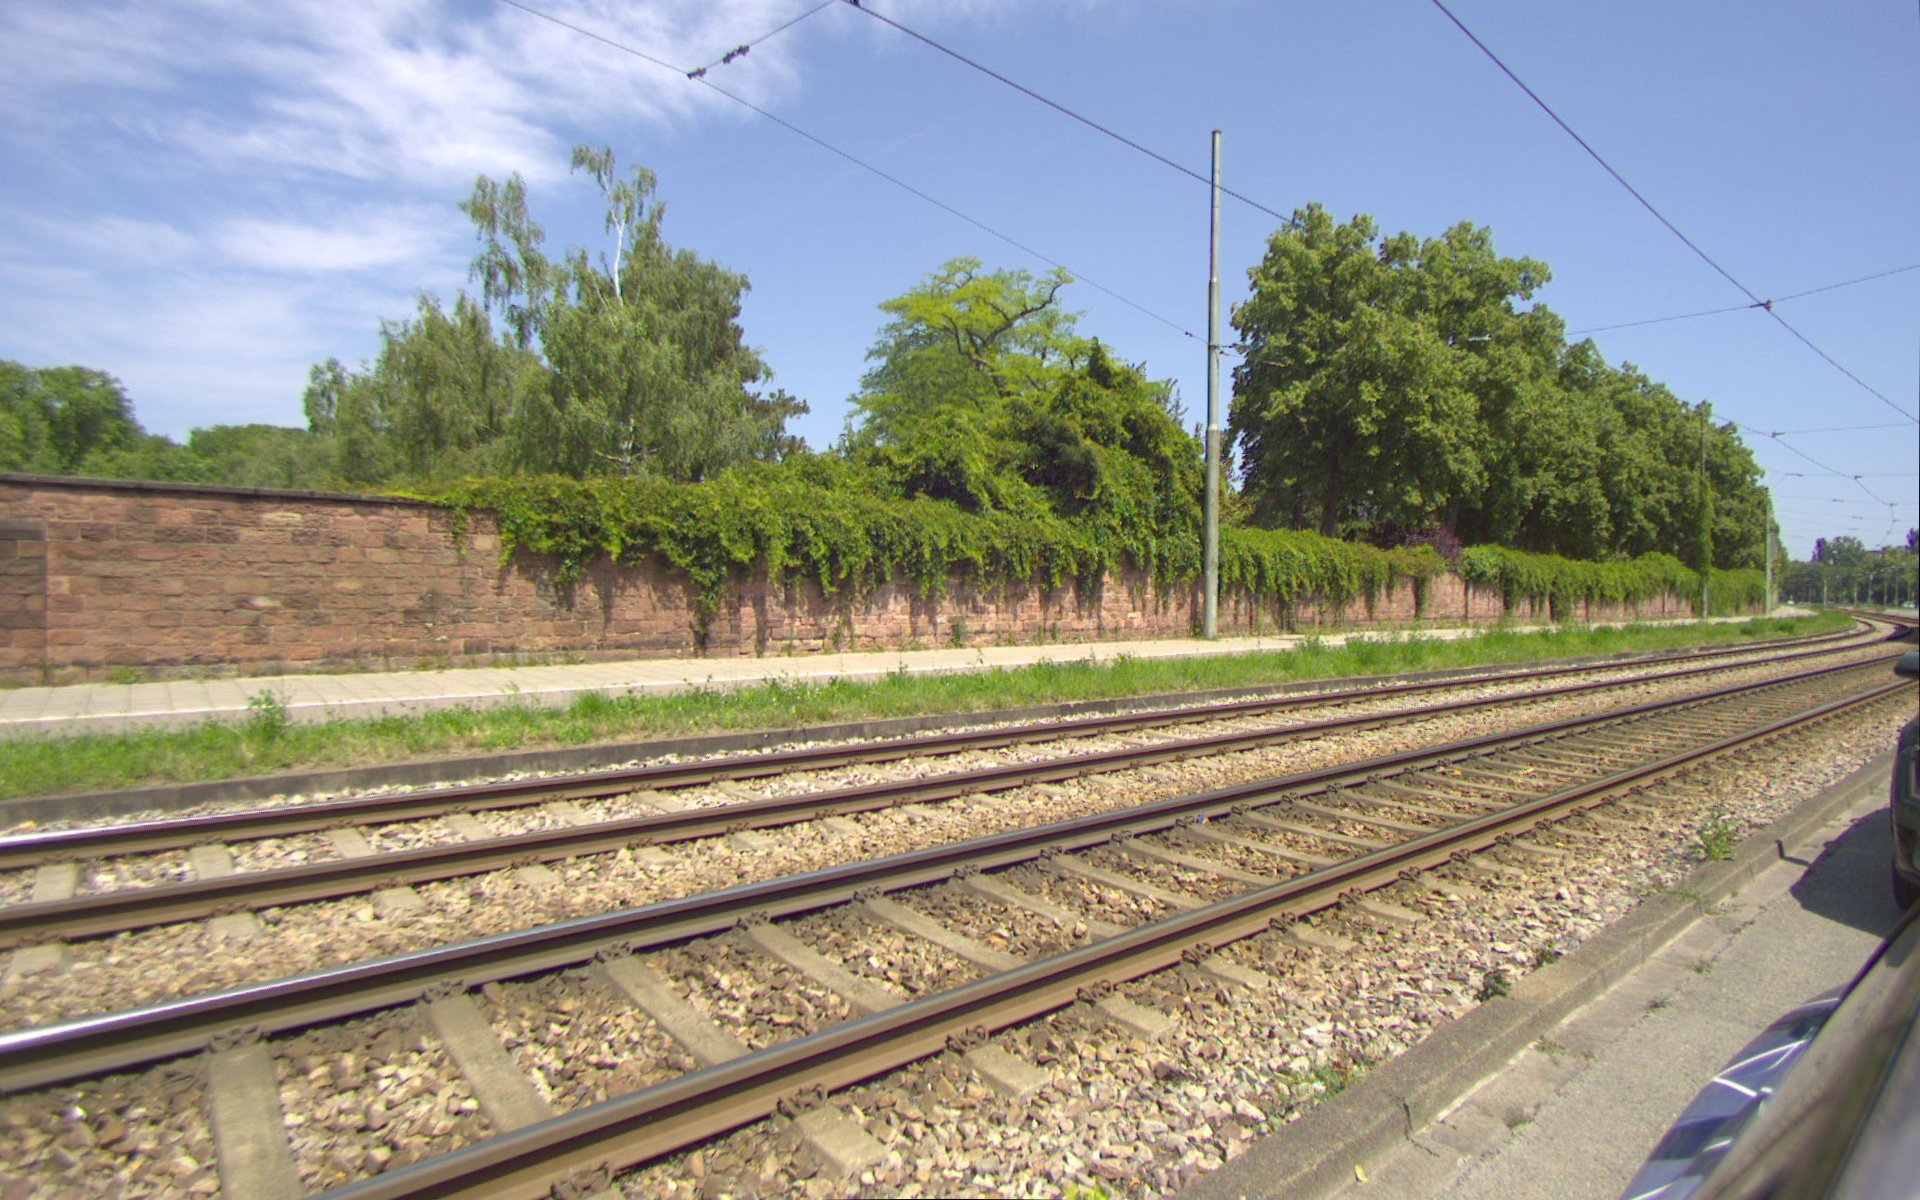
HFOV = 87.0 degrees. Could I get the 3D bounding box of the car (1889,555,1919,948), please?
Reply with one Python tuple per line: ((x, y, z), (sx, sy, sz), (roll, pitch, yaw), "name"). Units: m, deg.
((6.070, 0.619, 4.961), (4.349, 1.603, 1.757), (0, 0, -41), "car")
